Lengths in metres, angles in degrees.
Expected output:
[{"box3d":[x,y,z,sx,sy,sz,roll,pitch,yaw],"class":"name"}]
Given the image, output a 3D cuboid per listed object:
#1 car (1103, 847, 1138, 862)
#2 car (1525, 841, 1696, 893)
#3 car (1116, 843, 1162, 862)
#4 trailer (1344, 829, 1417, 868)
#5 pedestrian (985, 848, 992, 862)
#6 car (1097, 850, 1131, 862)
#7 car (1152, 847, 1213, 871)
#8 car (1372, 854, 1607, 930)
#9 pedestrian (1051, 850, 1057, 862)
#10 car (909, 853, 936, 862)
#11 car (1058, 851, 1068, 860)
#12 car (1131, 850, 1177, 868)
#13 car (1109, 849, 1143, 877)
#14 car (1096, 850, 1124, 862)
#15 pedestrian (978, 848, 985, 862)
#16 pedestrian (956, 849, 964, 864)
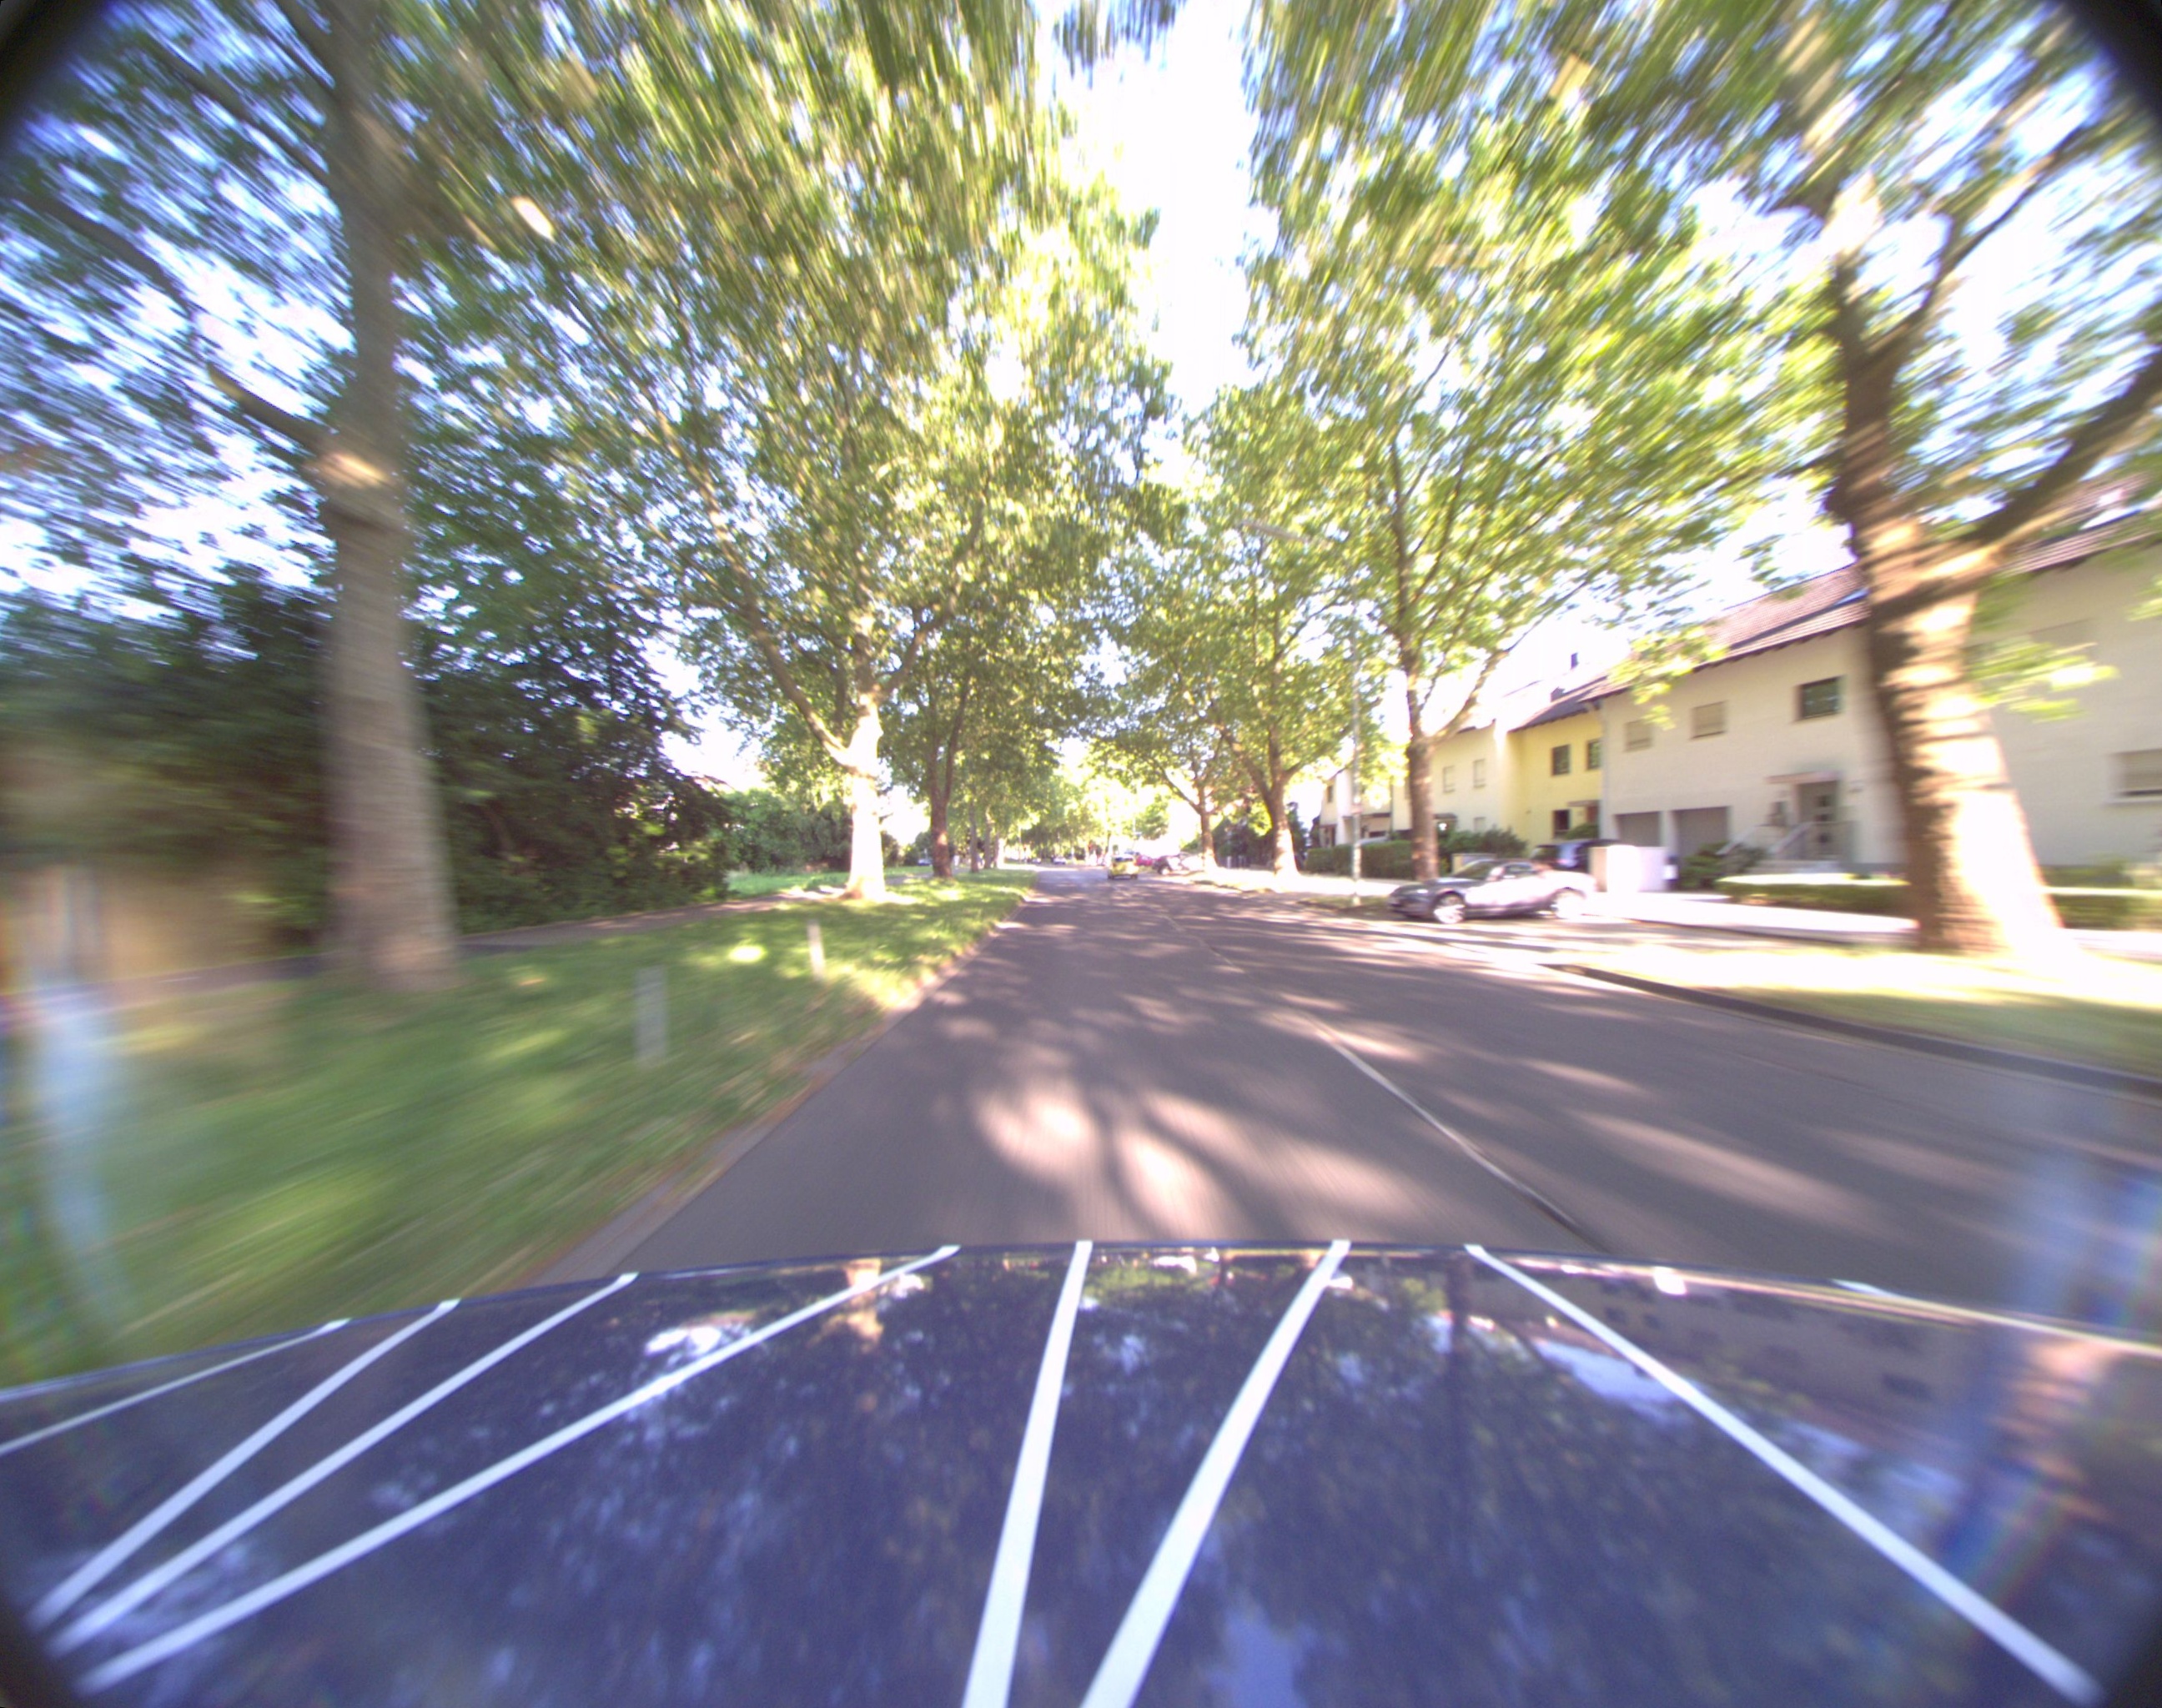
[{"box3d":[4.827,0.044,92.809,4.104,1.706,1.830,-1,1,-5],"class":"car"},{"box3d":[16.339,0.373,23.604,3.997,1.456,1.900,-1,1,-1],"class":"car"},{"box3d":[5.953,-0.168,78.126,4.399,1.814,1.994,-2,1,-6],"class":"car"},{"box3d":[17.380,-0.300,44.190,3.463,1.914,1.643,-5,0,-3],"class":"trailer"},{"box3d":[-12.132,0.109,99.524,0.763,1.835,0.787,-1,1,-2],"class":"pedestrian"},{"box3d":[4.236,0.265,97.967,4.174,1.492,1.874,-2,1,-7],"class":"car"},{"box3d":[7.198,0.341,54.083,3.999,1.509,1.817,-2,1,-3],"class":"car"},{"box3d":[8.257,0.732,15.595,3.836,1.308,1.789,-2,1,-2],"class":"car"},{"box3d":[-3.961,0.269,112.467,0.637,1.709,0.825,1,0,-13],"class":"pedestrian"},{"box3d":[-25.365,0.552,121.507,4.069,1.455,1.730,-1,1,-9],"class":"car"},{"box3d":[-3.064,0.282,129.629,1.721,1.492,4.093,-1,1,0],"class":"car"},{"box3d":[6.518,0.451,67.988,3.883,1.509,1.664,-1,1,-6],"class":"car"},{"box3d":[2.759,0.540,47.334,1.788,1.504,3.837,-5,1,0],"class":"car"},{"box3d":[4.097,0.247,107.882,3.776,1.526,1.830,-2,1,-7],"class":"car"},{"box3d":[-13.069,0.150,99.635,0.756,1.837,0.802,-1,1,-2],"class":"pedestrian"},{"box3d":[-12.903,0.276,81.095,0.782,1.640,0.938,0,1,-5],"class":"pedestrian"}]
